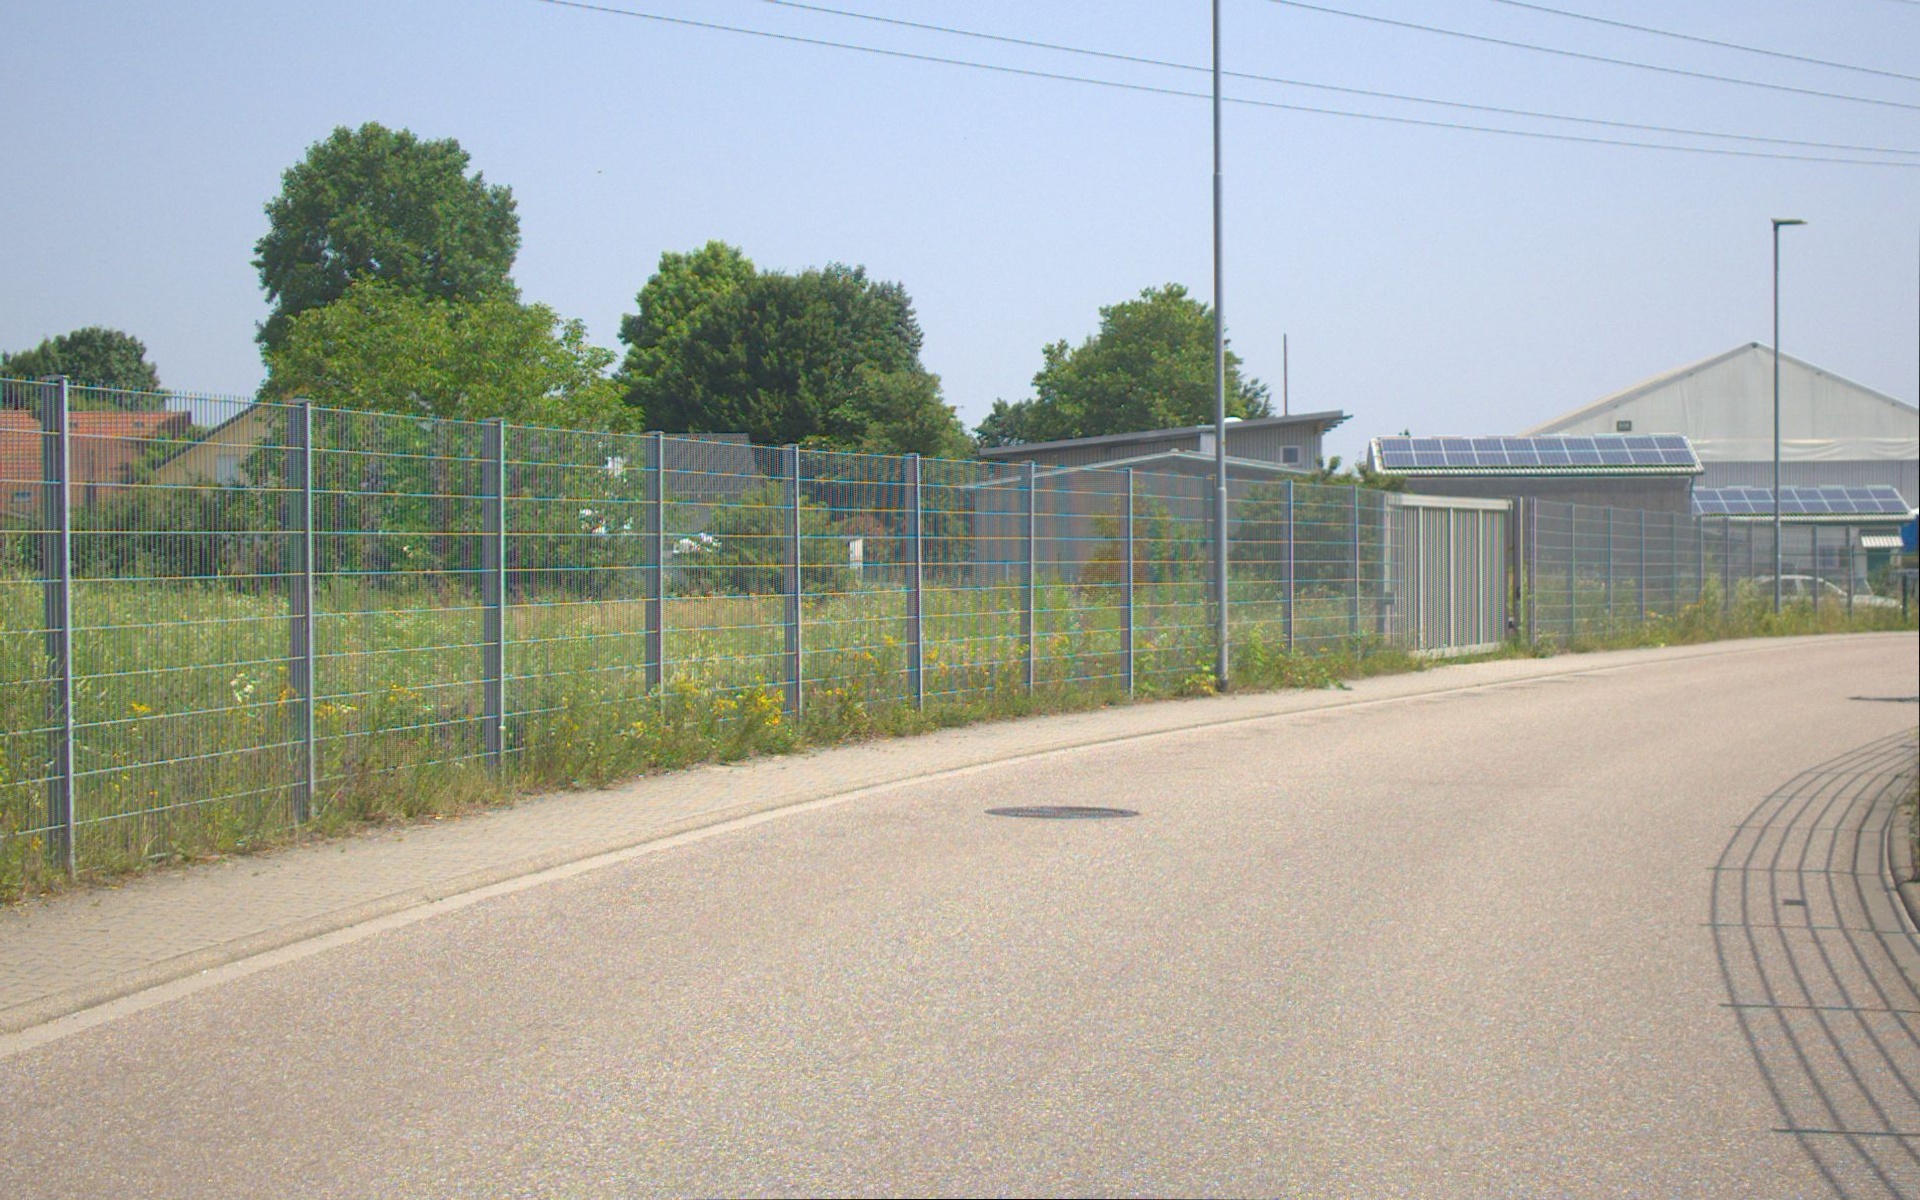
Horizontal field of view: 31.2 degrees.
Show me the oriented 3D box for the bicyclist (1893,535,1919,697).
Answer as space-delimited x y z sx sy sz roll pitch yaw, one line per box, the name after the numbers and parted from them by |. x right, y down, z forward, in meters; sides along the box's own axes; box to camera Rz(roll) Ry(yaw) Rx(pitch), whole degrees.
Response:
10.037 0.158 34.958 0.843 1.613 1.038 2 2 26 | bicyclist

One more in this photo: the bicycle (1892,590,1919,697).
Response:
10.035 0.434 34.999 0.686 1.048 1.898 2 1 26 | bicycle
